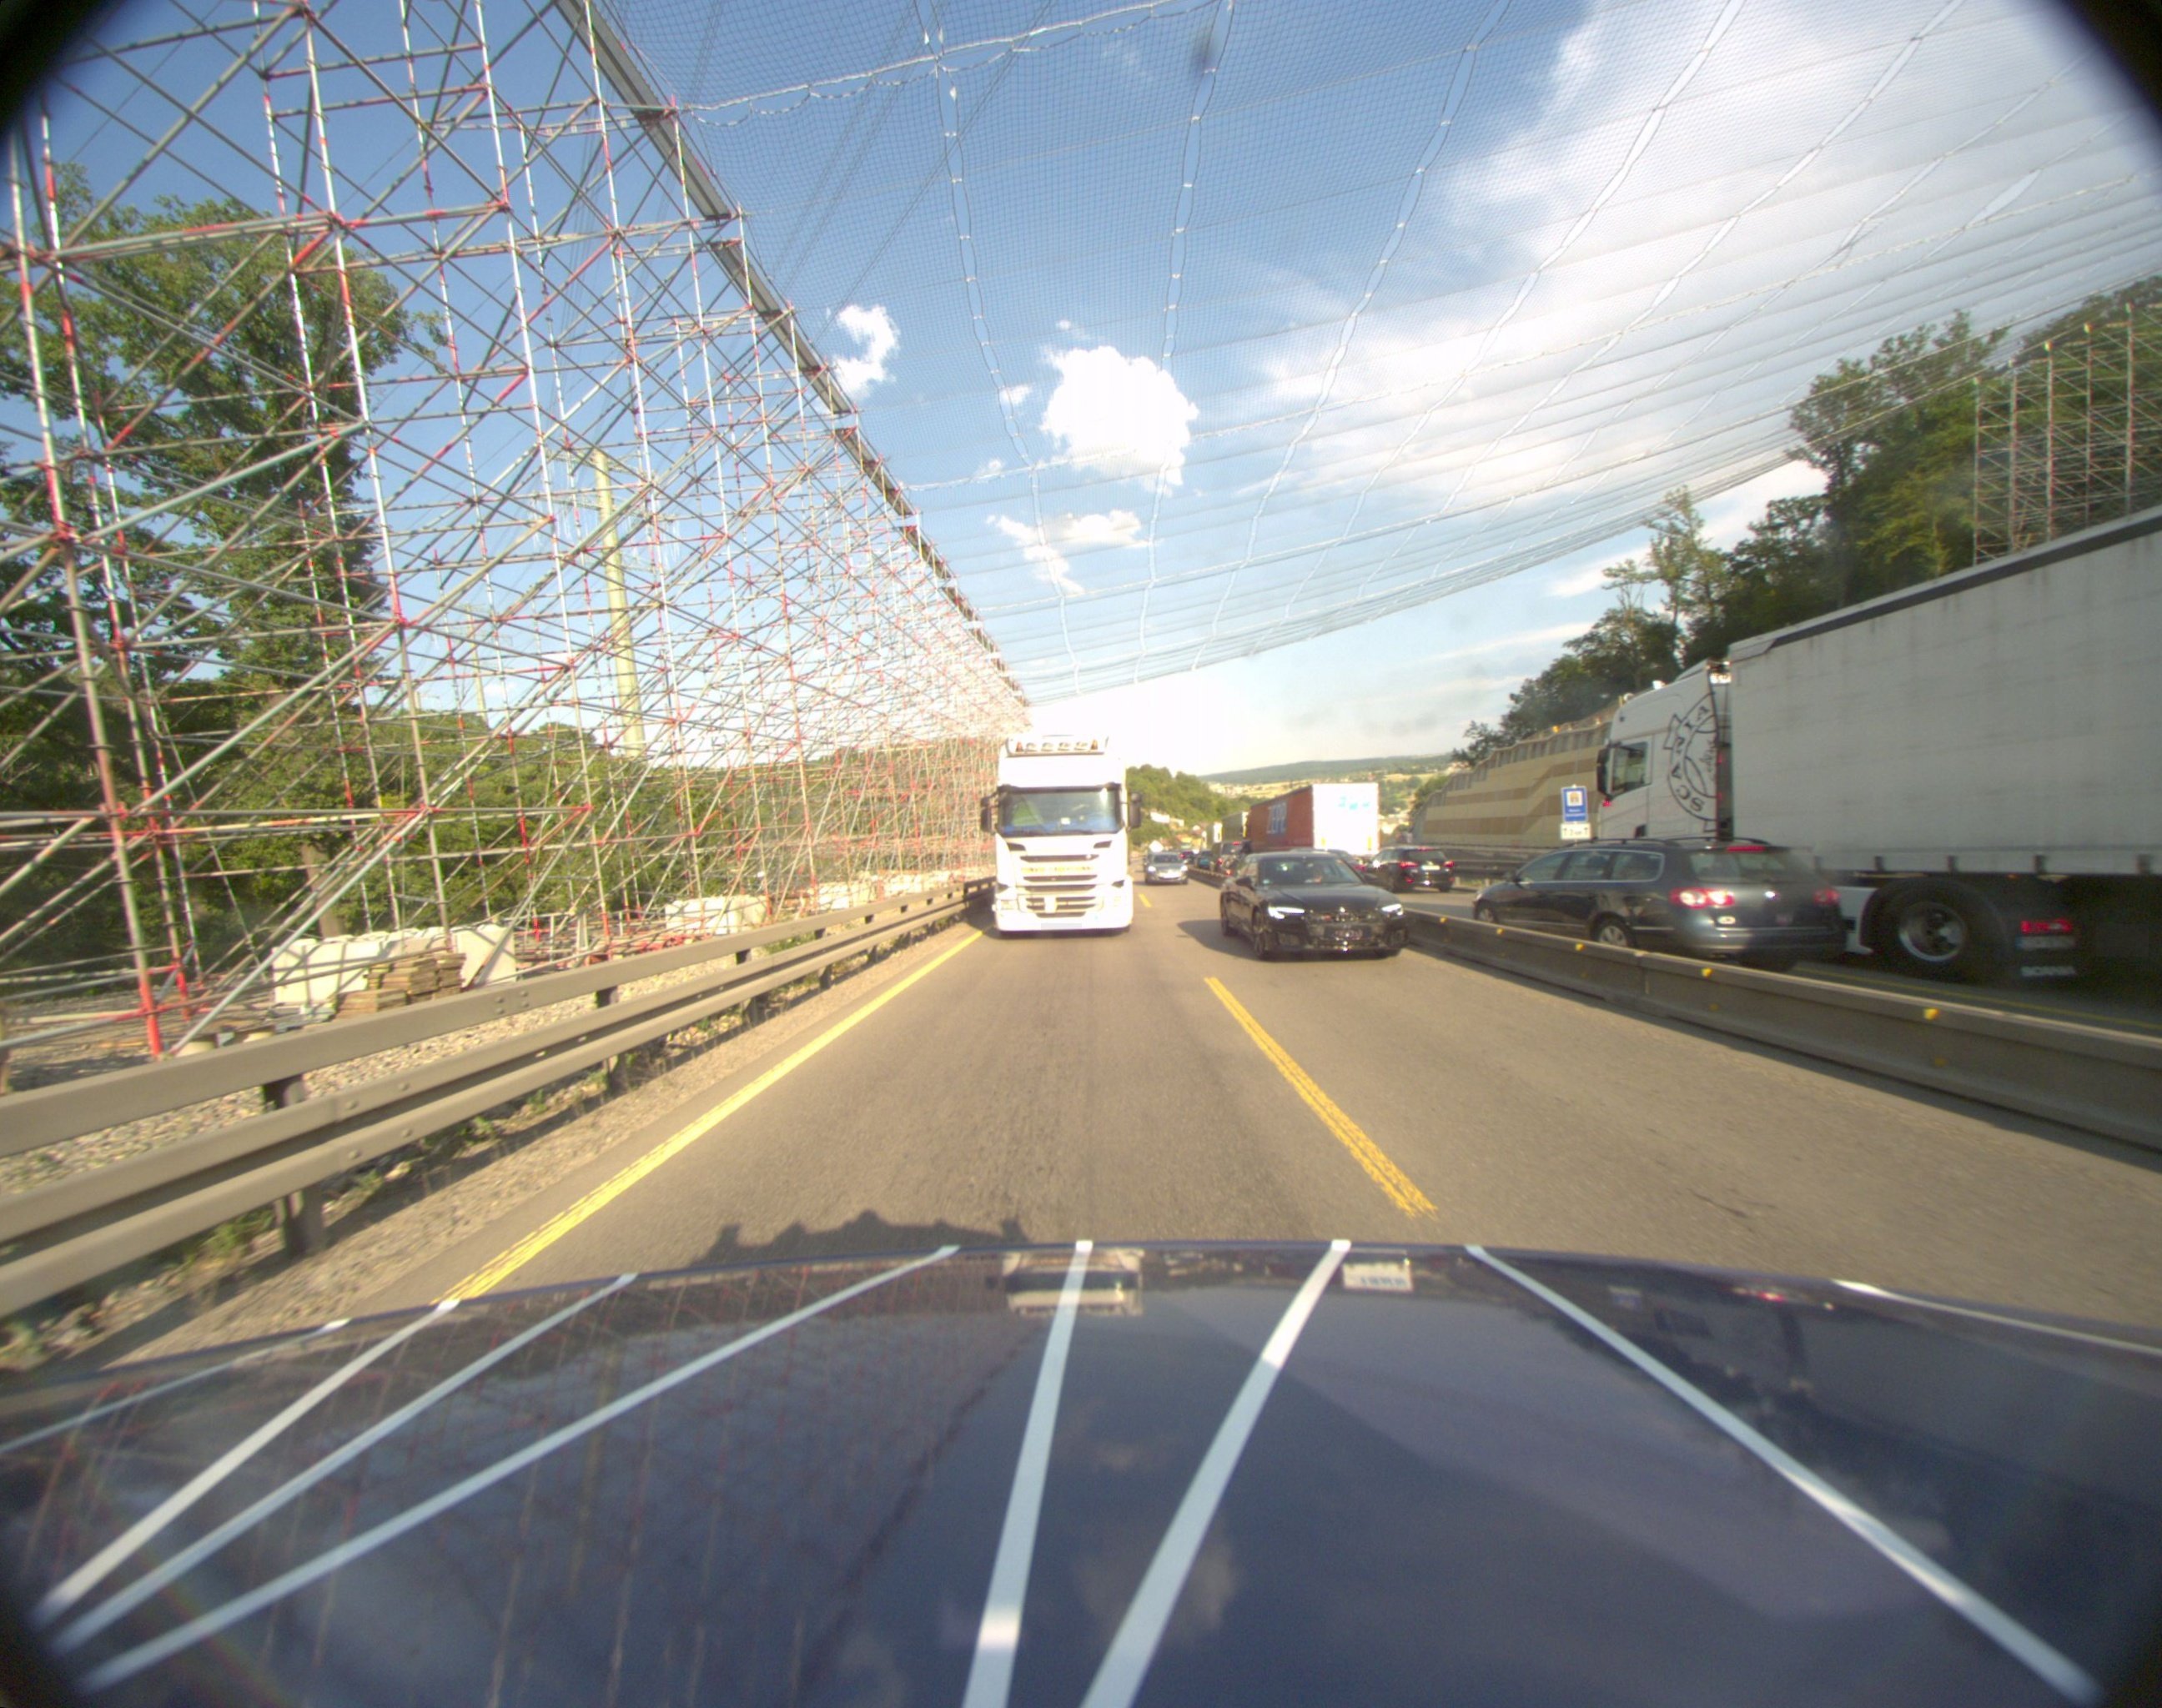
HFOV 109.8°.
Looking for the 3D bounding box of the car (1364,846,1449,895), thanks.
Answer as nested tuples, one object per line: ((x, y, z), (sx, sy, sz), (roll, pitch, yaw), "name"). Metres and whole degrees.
((10.306, 0.484, 24.275), (1.371, 1.407, 3.293), (-2, 1, 2), "car")

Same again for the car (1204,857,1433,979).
((3.304, 0.788, 11.753), (1.939, 1.390, 4.960), (-2, 0, 0), "car")

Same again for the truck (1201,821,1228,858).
((19.253, -2.086, 110.437), (3.167, 4.817, 14.364), (-2, 1, 8), "truck")

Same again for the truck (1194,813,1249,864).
((14.170, -1.541, 78.360), (2.994, 4.532, 17.407), (-2, 1, 2), "truck")

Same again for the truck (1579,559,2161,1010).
((9.607, -0.649, 9.650), (2.522, 3.885, 6.048), (-2, 1, 0), "truck")

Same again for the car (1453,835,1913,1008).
((6.699, 0.598, 9.331), (1.939, 1.525, 4.644), (-2, 1, 0), "car")

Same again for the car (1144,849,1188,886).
((3.783, 0.572, 34.364), (1.759, 1.464, 4.353), (-2, 1, 4), "car")

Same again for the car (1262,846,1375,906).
((6.862, 0.546, 22.551), (1.939, 1.510, 4.978), (-2, 1, 2), "car")

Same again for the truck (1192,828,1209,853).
((25.073, -2.802, 160.156), (3.167, 4.817, 14.364), (-2, 1, 8), "truck")

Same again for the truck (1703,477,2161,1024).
((9.680, -0.799, 3.044), (2.728, 4.202, 14.166), (-2, 1, 0), "truck")

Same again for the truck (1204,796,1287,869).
((11.916, -1.452, 57.180), (2.994, 4.532, 17.407), (-2, 1, 2), "truck")

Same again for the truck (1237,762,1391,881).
((10.898, -1.354, 38.409), (2.994, 4.532, 17.407), (-2, 1, 2), "truck")

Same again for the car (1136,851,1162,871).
((5.015, 0.492, 56.133), (1.764, 1.376, 3.823), (-2, 1, 4), "car")

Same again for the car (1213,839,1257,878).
((7.707, 0.201, 38.332), (1.726, 1.816, 3.293), (-2, 1, 5), "car")

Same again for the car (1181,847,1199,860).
((11.583, -0.066, 80.840), (1.403, 1.226, 3.292), (-2, 1, 0), "car")

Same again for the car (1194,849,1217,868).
((8.198, 0.278, 50.027), (1.166, 1.107, 2.727), (-2, 1, 3), "car")

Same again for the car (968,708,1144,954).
((-0.310, -0.433, 17.101), (2.858, 4.092, 8.280), (-2, 1, 2), "car")
